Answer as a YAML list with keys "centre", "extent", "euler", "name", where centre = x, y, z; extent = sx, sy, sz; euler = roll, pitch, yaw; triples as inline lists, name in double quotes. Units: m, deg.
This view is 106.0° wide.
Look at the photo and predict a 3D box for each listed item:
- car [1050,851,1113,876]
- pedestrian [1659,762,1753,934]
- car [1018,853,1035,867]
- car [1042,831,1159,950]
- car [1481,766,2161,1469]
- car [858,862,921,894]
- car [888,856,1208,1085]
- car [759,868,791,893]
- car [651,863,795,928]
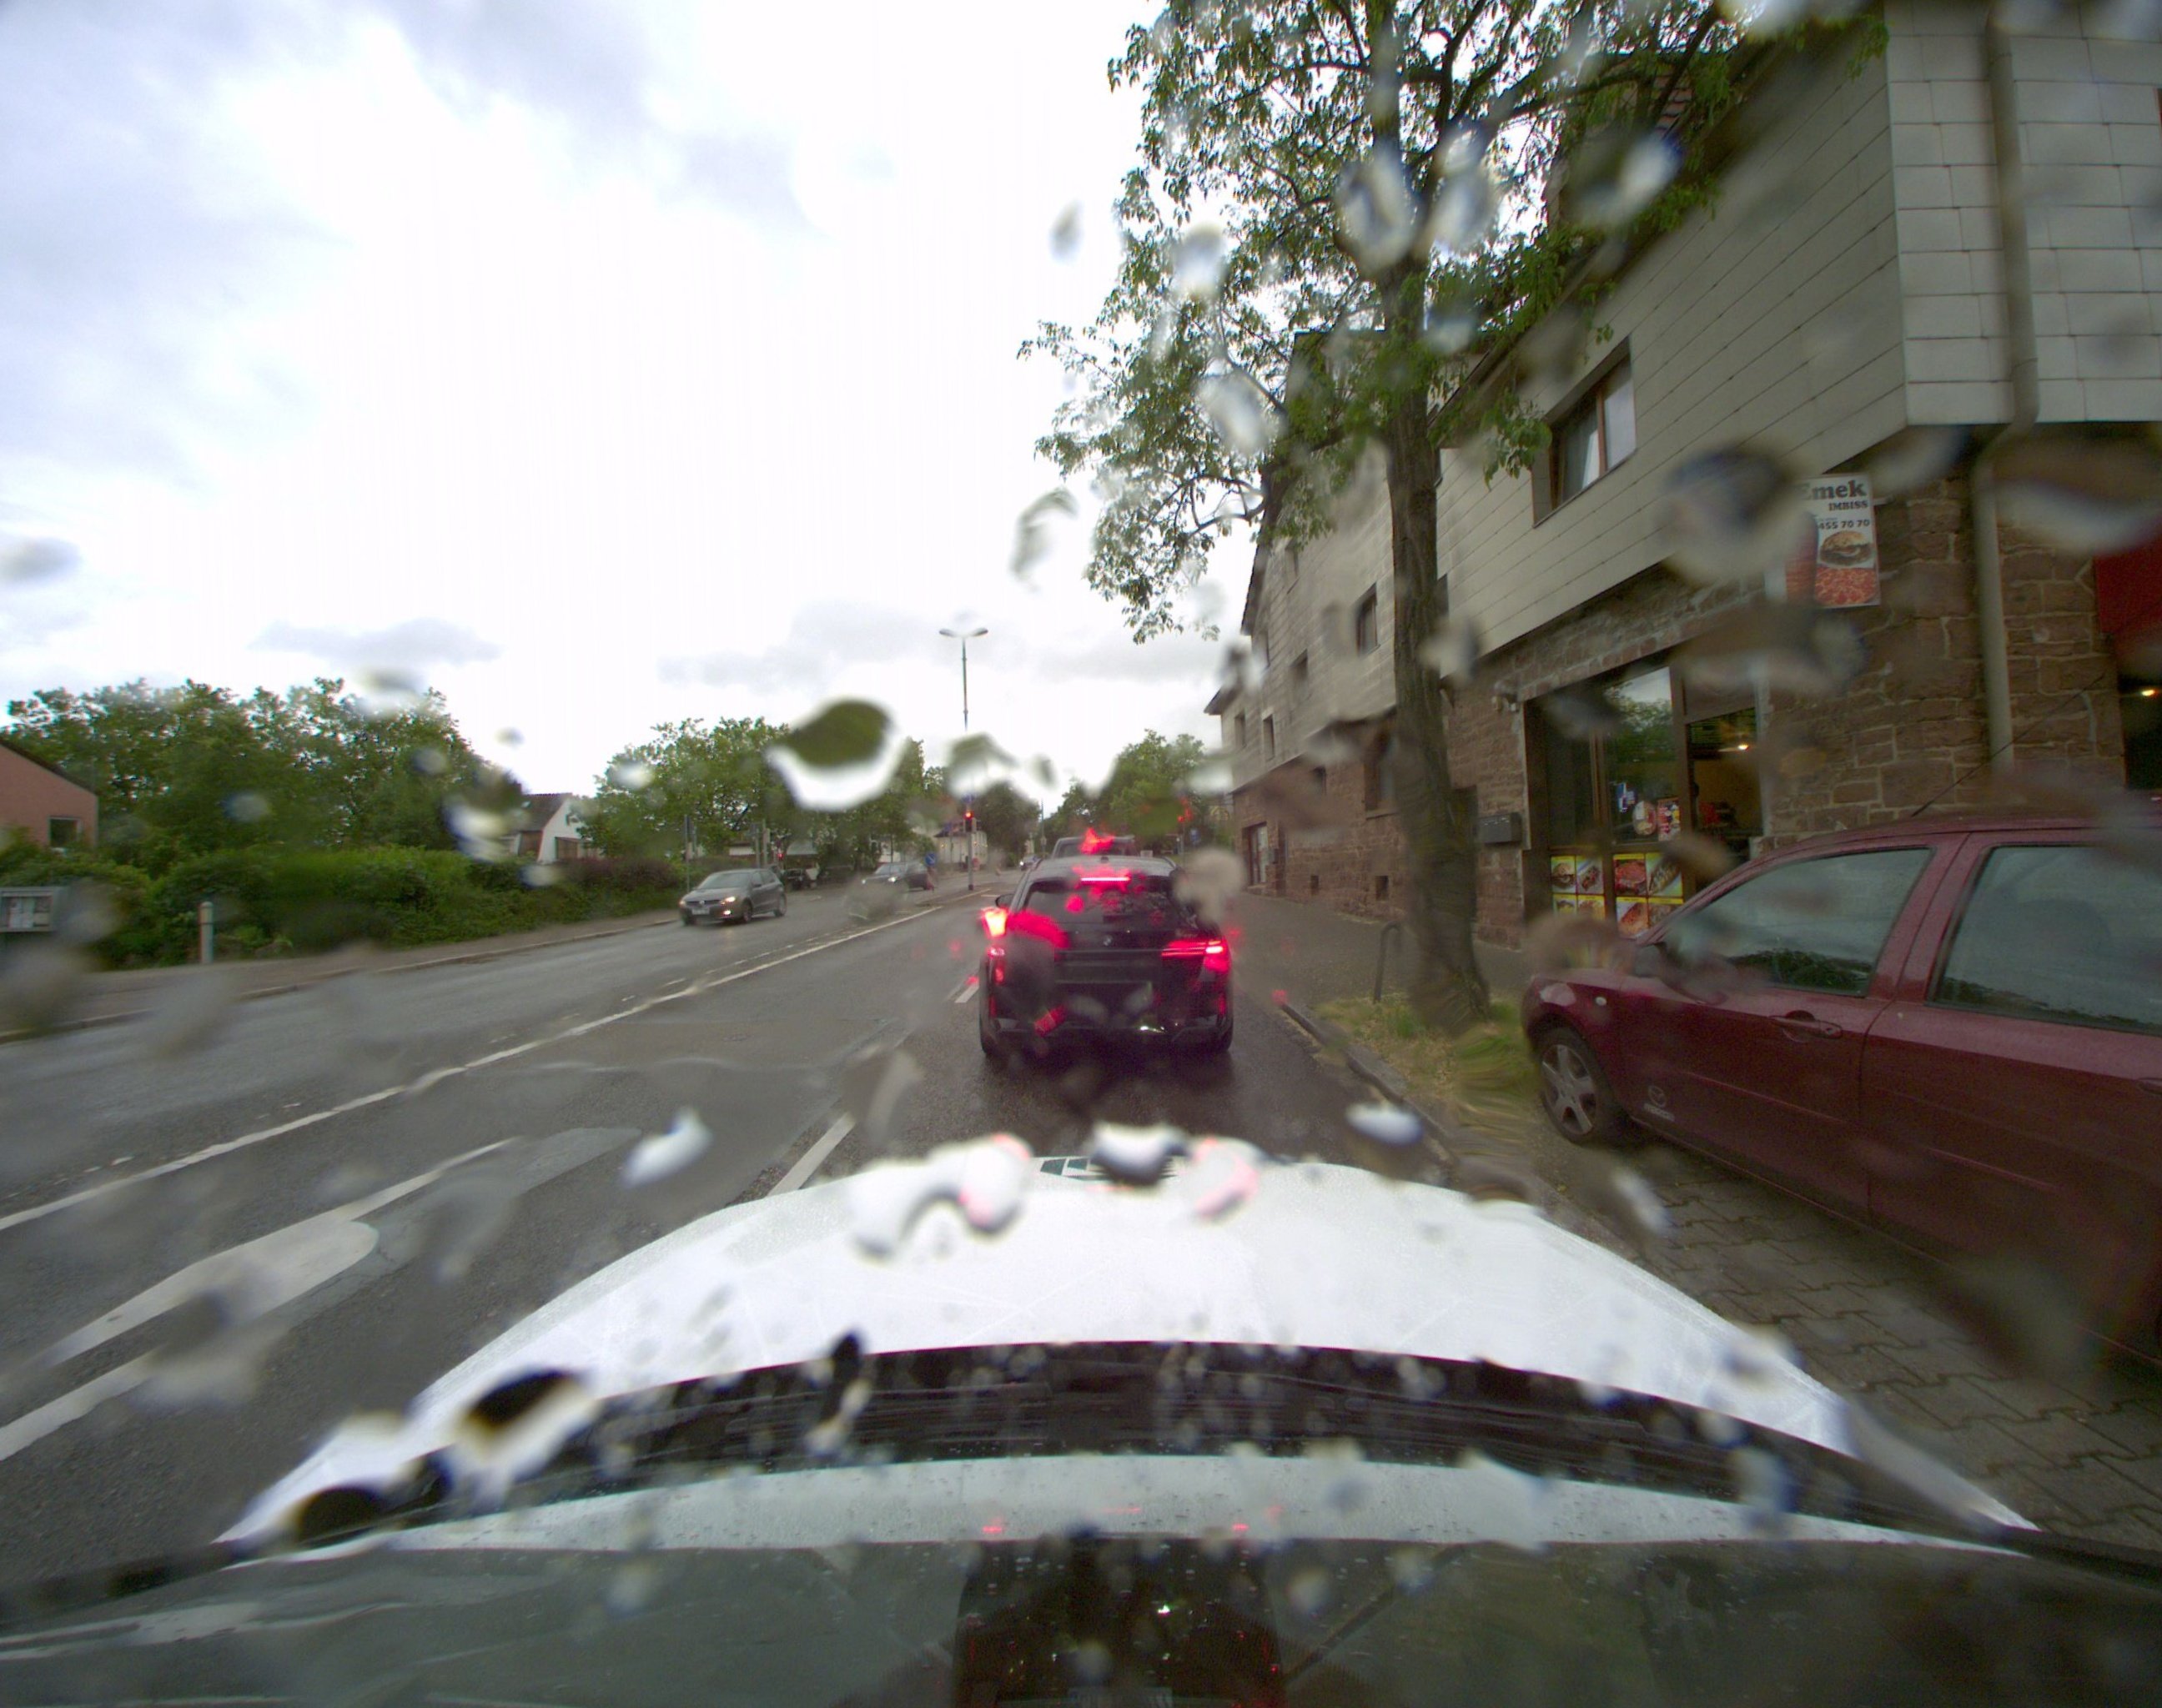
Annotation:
- centre: [0.036, 0.633, 56.415]
  extent: [4.015, 1.552, 1.805]
  euler: [-2, 0, -34]
  name: "car"
- centre: [6.899, -0.063, 9.010]
  extent: [0.635, 1.839, 0.483]
  euler: [-1, 0, 1]
  name: "pedestrian"
- centre: [-5.695, 0.614, 85.517]
  extent: [1.459, 1.398, 3.323]
  euler: [-1, 0, 2]
  name: "car"
- centre: [0.299, 0.569, 14.788]
  extent: [1.778, 1.817, 3.999]
  euler: [-1, 0, 0]
  name: "car"
- centre: [3.034, 0.504, 2.618]
  extent: [1.579, 1.490, 3.626]
  euler: [-5, 1, -1]
  name: "car"
- centre: [-8.885, 1.080, 38.117]
  extent: [1.835, 1.288, 4.003]
  euler: [-1, 0, 3]
  name: "car"
- centre: [-0.231, 0.758, 7.529]
  extent: [2.058, 1.446, 4.481]
  euler: [-1, 0, -1]
  name: "car"
- centre: [-21.647, 1.857, 57.740]
  extent: [2.000, 1.552, 3.973]
  euler: [-2, 0, -20]
  name: "car"
- centre: [-9.605, 1.048, 22.238]
  extent: [1.985, 1.510, 3.958]
  euler: [-1, 0, 3]
  name: "car"
